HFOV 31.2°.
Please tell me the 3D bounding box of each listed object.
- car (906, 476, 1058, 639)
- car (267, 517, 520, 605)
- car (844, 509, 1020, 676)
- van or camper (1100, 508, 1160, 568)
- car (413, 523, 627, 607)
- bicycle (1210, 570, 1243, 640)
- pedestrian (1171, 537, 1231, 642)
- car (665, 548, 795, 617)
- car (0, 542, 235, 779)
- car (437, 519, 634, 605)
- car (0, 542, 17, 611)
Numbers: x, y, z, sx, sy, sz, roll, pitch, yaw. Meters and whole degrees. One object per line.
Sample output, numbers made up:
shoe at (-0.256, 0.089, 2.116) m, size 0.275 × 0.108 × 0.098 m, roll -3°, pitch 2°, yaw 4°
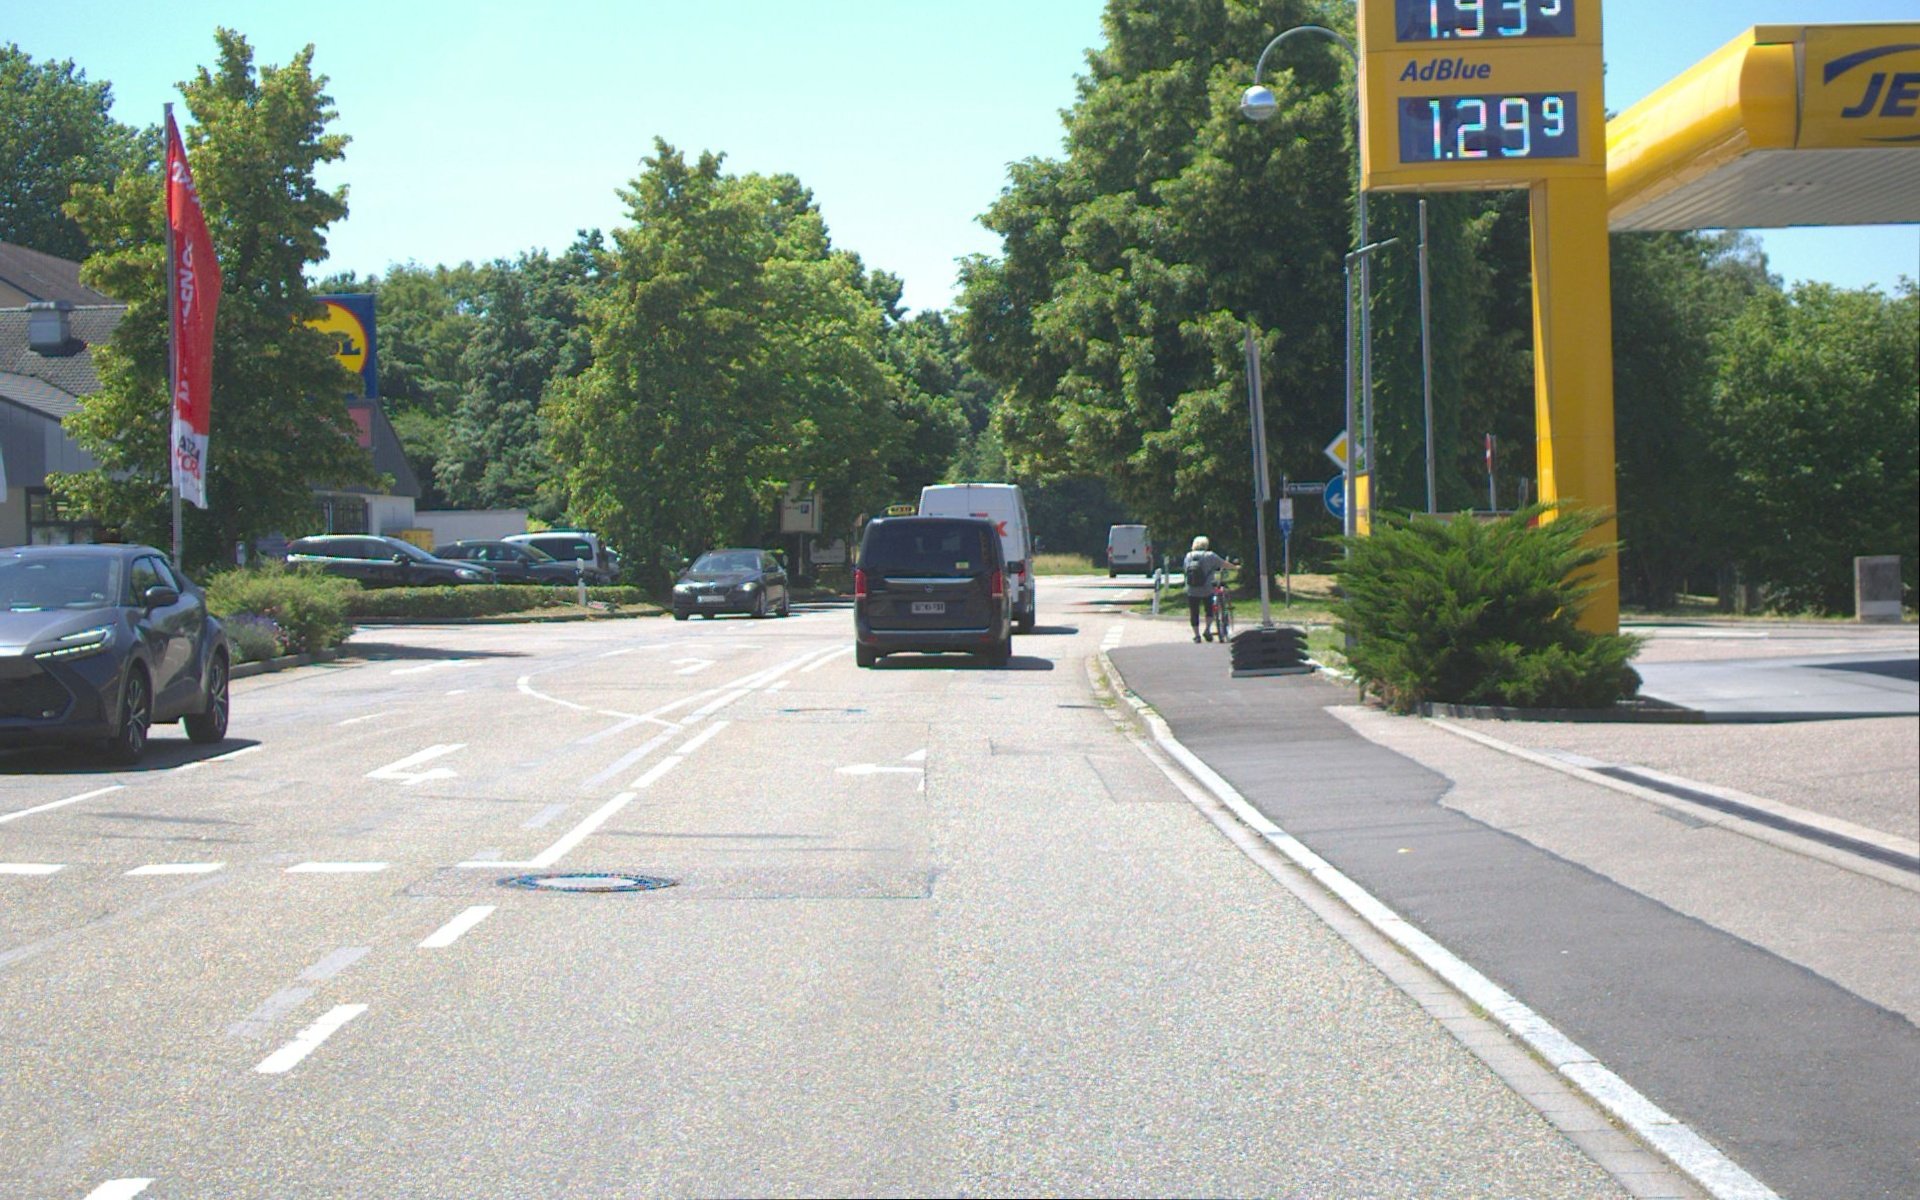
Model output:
car at (0.434, -0.745, 60.191) m, size 2.078 × 2.693 × 4.665 m, roll 1°, pitch 1°, yaw 7°
car at (-11.589, -0.805, 70.535) m, size 4.709 × 1.756 × 2.098 m, roll 0°, pitch 0°, yaw 8°
car at (-0.293, -0.133, 43.543) m, size 1.993 × 1.946 × 5.005 m, roll 1°, pitch 1°, yaw 2°
van or camper at (8.407, -3.049, 170.279) m, size 2.631 × 2.919 × 5.207 m, roll 1°, pitch 1°, yaw 0°
car at (-9.962, -0.796, 77.983) m, size 4.387 × 1.839 × 2.103 m, roll 0°, pitch 0°, yaw 9°
bicycle at (3.617, 0.059, 46.553) m, size 0.378 × 0.909 × 1.598 m, roll 0°, pitch 1°, yaw 7°
pedestrian at (3.288, -0.155, 46.845) m, size 0.769 × 1.416 × 0.868 m, roll 0°, pitch 1°, yaw 6°
car at (-4.785, -0.376, 72.170) m, size 1.933 × 1.395 × 4.688 m, roll 0°, pitch 0°, yaw 6°
car at (-6.565, 0.381, 24.825) m, size 1.762 × 1.522 × 4.138 m, roll -2°, pitch 1°, yaw 0°
car at (-9.928, -0.890, 80.700) m, size 4.356 × 1.973 × 1.905 m, roll 0°, pitch 0°, yaw 1°
car at (-23.436, -0.539, 76.694) m, size 4.312 × 1.525 × 1.828 m, roll 0°, pitch 0°, yaw 0°
